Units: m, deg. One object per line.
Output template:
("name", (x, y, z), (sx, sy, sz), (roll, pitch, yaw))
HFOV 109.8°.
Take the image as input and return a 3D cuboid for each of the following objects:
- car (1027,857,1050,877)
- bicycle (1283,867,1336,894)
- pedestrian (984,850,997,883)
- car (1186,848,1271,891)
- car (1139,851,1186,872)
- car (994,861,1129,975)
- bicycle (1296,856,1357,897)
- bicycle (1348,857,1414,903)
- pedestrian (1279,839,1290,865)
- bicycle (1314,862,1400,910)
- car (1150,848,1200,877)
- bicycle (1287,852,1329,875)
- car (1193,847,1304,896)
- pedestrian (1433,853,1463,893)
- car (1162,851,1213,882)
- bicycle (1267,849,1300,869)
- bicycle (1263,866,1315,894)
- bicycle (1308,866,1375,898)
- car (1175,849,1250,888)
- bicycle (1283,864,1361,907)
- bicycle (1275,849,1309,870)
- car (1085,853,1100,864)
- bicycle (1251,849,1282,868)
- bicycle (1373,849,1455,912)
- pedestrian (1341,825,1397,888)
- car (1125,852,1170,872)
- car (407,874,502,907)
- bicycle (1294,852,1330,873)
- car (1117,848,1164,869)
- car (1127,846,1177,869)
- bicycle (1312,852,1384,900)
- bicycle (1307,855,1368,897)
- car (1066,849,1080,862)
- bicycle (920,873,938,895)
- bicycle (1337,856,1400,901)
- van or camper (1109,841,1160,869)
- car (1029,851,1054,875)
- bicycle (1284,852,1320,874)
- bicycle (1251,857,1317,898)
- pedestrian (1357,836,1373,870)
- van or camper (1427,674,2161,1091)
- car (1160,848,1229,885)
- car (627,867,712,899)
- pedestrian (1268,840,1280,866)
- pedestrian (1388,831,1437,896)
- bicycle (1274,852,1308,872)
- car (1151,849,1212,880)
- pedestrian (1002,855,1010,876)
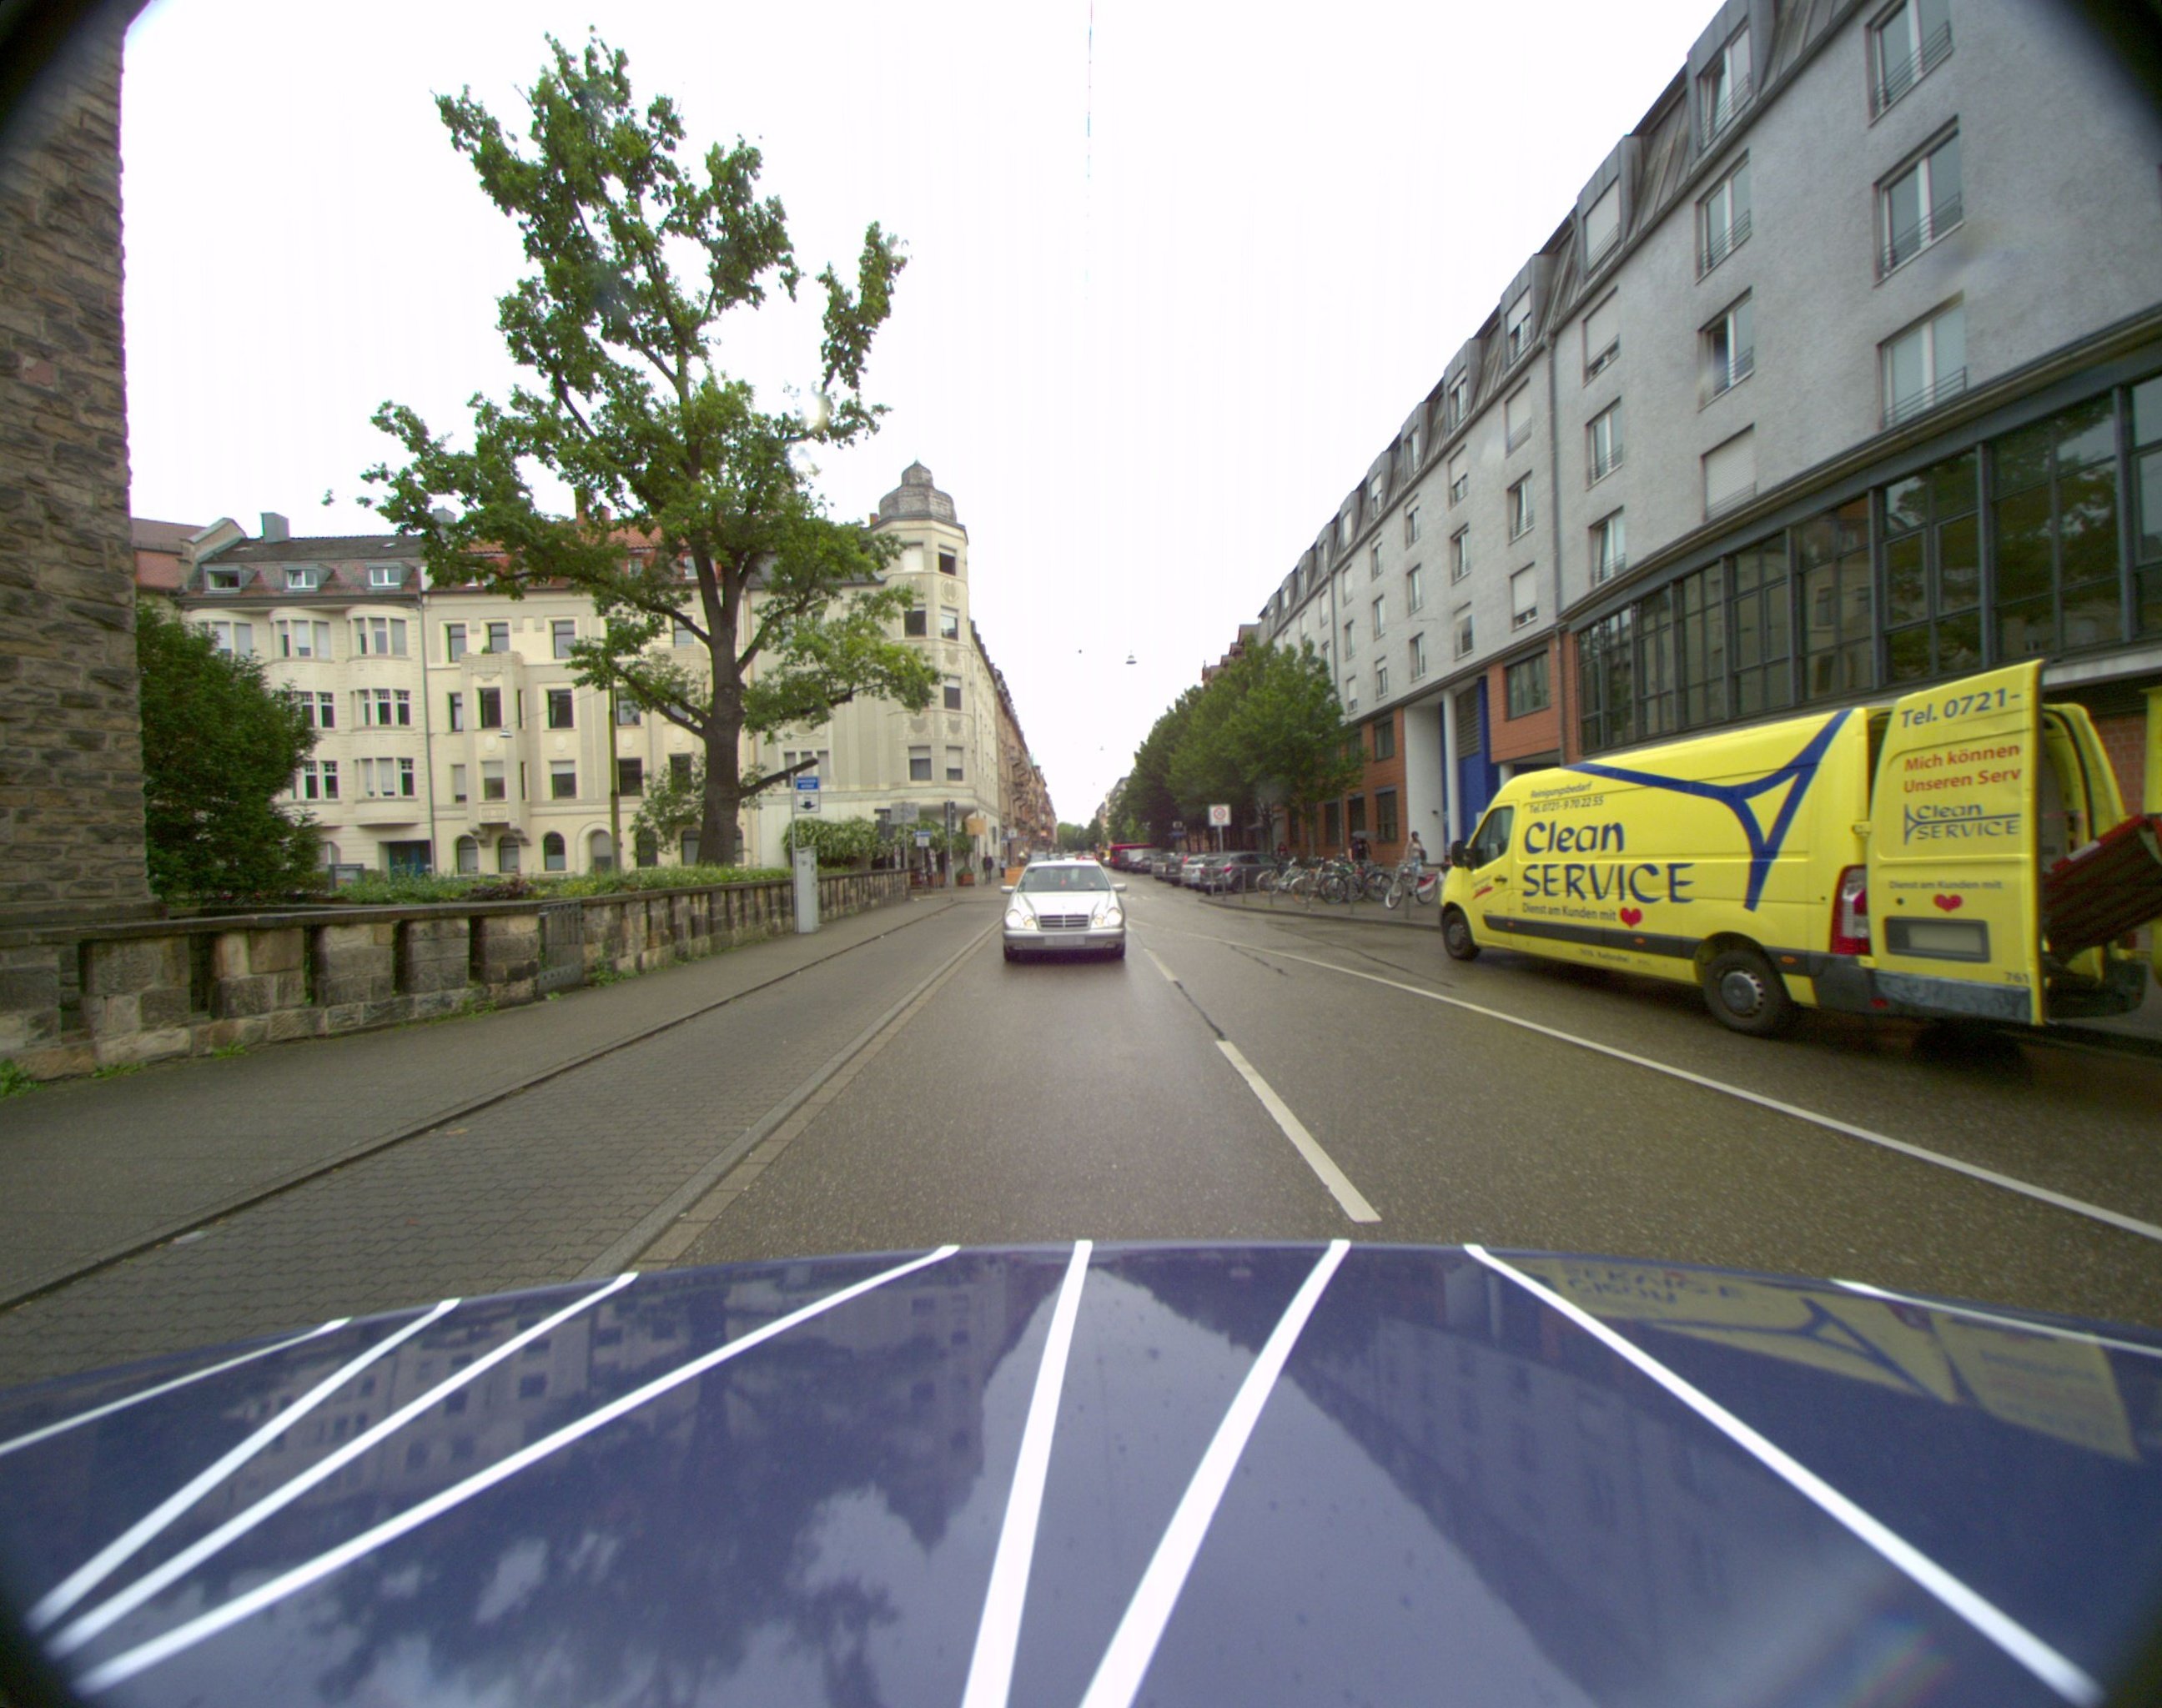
("car", (-3.028, 0.898, 54.651), (1.447, 1.348, 3.204), (-1, 0, 0))
("bicycle", (7.111, 0.822, 23.635), (1.473, 0.717, 0.497), (-4, 1, 3))
("pedestrian", (-5.176, 0.695, 43.548), (0.646, 1.862, 0.693), (-1, 1, 0))
("car", (5.886, 0.607, 30.240), (3.083, 1.494, 1.449), (-3, 0, -31))
("car", (6.328, 0.569, 58.667), (1.685, 1.482, 3.799), (-1, 0, 40))
("car", (-0.252, 0.881, 12.215), (1.764, 1.420, 4.000), (-2, 0, 0))
("bicycle", (7.335, 0.668, 22.697), (1.610, 1.099, 0.520), (-3, 1, -4))
("bicycle", (7.554, 0.656, 19.165), (1.462, 1.058, 0.418), (-3, 1, 4))
("pedestrian", (12.524, -0.108, 46.719), (0.514, 1.601, 0.425), (-2, 1, 1))
("bicycle", (6.766, 0.779, 18.695), (1.858, 1.067, 0.609), (-3, 1, 6))
("car", (5.476, 0.502, 44.233), (2.685, 1.546, 1.148), (-3, 0, -29))
("bicycle", (10.717, 0.441, 35.873), (1.851, 0.978, 0.445), (-2, 1, -8))
("car", (6.029, 0.597, 27.264), (3.629, 1.494, 1.736), (-3, 1, -31))
("pedestrian", (10.215, 0.519, 21.155), (0.485, 1.044, 0.528), (-6, 1, -1))
("car", (5.505, 0.619, 39.134), (2.506, 1.442, 1.191), (-3, 0, -40))
("bicycle", (10.689, 0.266, 40.046), (1.590, 0.978, 0.465), (-2, 1, -8))
("bicycle", (6.638, 0.828, 24.264), (1.473, 0.800, 0.497), (-4, 1, 3))
("bicycle", (7.340, 0.784, 21.391), (1.773, 0.757, 0.456), (-3, 1, -13))
("car", (5.705, 0.609, 32.850), (3.084, 1.494, 1.449), (-3, 0, -40))
("bicycle", (6.186, 0.803, 19.504), (1.800, 0.987, 0.520), (-3, 1, -2))
("bicycle", (10.801, 0.280, 38.881), (1.590, 0.978, 0.445), (-2, 1, -8))
("car", (1.363, 0.528, 93.538), (1.651, 1.301, 3.311), (-1, 0, -2))
("bicycle", (10.344, 0.243, 42.322), (1.590, 0.978, 0.465), (-2, 1, -8))
("bicycle", (7.585, 0.579, 17.278), (1.922, 1.209, 0.768), (-6, 3, -35))
("pedestrian", (9.344, 0.071, 24.687), (1.228, 1.870, 1.055), (-6, 1, 0))
("car", (5.399, 0.611, 61.186), (1.685, 1.482, 3.799), (-1, 0, 40))
("car", (-29.388, 1.690, 35.684), (3.270, 1.401, 1.448), (-1, 0, 3))
("bicycle", (11.217, 0.415, 36.888), (1.590, 0.978, 0.445), (-2, 1, -8))
("car", (5.425, 0.412, 68.930), (4.338, 1.822, 1.571), (-1, 0, -41))
("car", (6.173, 0.297, 65.555), (4.338, 1.884, 1.685), (-1, 0, -41))
("bicycle", (7.314, 0.591, 20.798), (1.815, 1.187, 0.519), (-3, 1, -13))
("bicycle", (7.438, 0.617, 22.046), (1.611, 1.099, 0.519), (-3, 1, -13))
("car", (-1.210, 0.217, 119.838), (1.998, 2.002, 4.000), (-2, 0, 1))
("bicycle", (-7.193, 1.395, 35.975), (0.390, 0.888, 2.023), (-1, 2, 0))
("bicycle", (7.527, 0.633, 19.938), (1.461, 1.096, 0.462), (-3, 1, 14))
("van or camper", (5.286, 0.083, 74.873), (4.603, 2.597, 1.999), (-1, 1, -27))
("car", (-3.103, 0.662, 59.800), (1.726, 1.794, 3.462), (-1, 0, 0))
("bicycle", (10.591, 0.437, 36.346), (1.590, 0.978, 0.445), (-2, 1, -8))
("bicycle", (6.180, 0.714, 23.157), (1.812, 1.099, 0.472), (-4, 1, -4))
("pedestrian", (13.088, -0.051, 35.020), (0.516, 1.521, 0.548), (-1, 1, -3))
("van or camper", (6.052, 0.171, 7.777), (2.201, 2.596, 5.941), (-1, 0, -1))
("car", (5.354, 0.575, 35.736), (3.084, 1.543, 1.449), (-3, 0, -40))
("car", (-19.560, 1.384, 36.191), (3.270, 1.401, 1.448), (-1, 0, 3))
("pedestrian", (11.933, -0.059, 46.961), (0.605, 1.601, 0.372), (-2, 1, -1))
("pedestrian", (9.199, 0.251, 21.094), (0.827, 1.697, 0.859), (-6, 1, 1))
("bicycle", (10.590, 0.406, 38.262), (1.590, 0.978, 0.445), (-2, 1, -8))
("car", (5.496, 0.563, 41.476), (2.985, 1.546, 1.369), (-3, 0, -29))
("pedestrian", (-5.149, 0.818, 52.506), (0.482, 1.452, 0.392), (-1, 1, 0))
